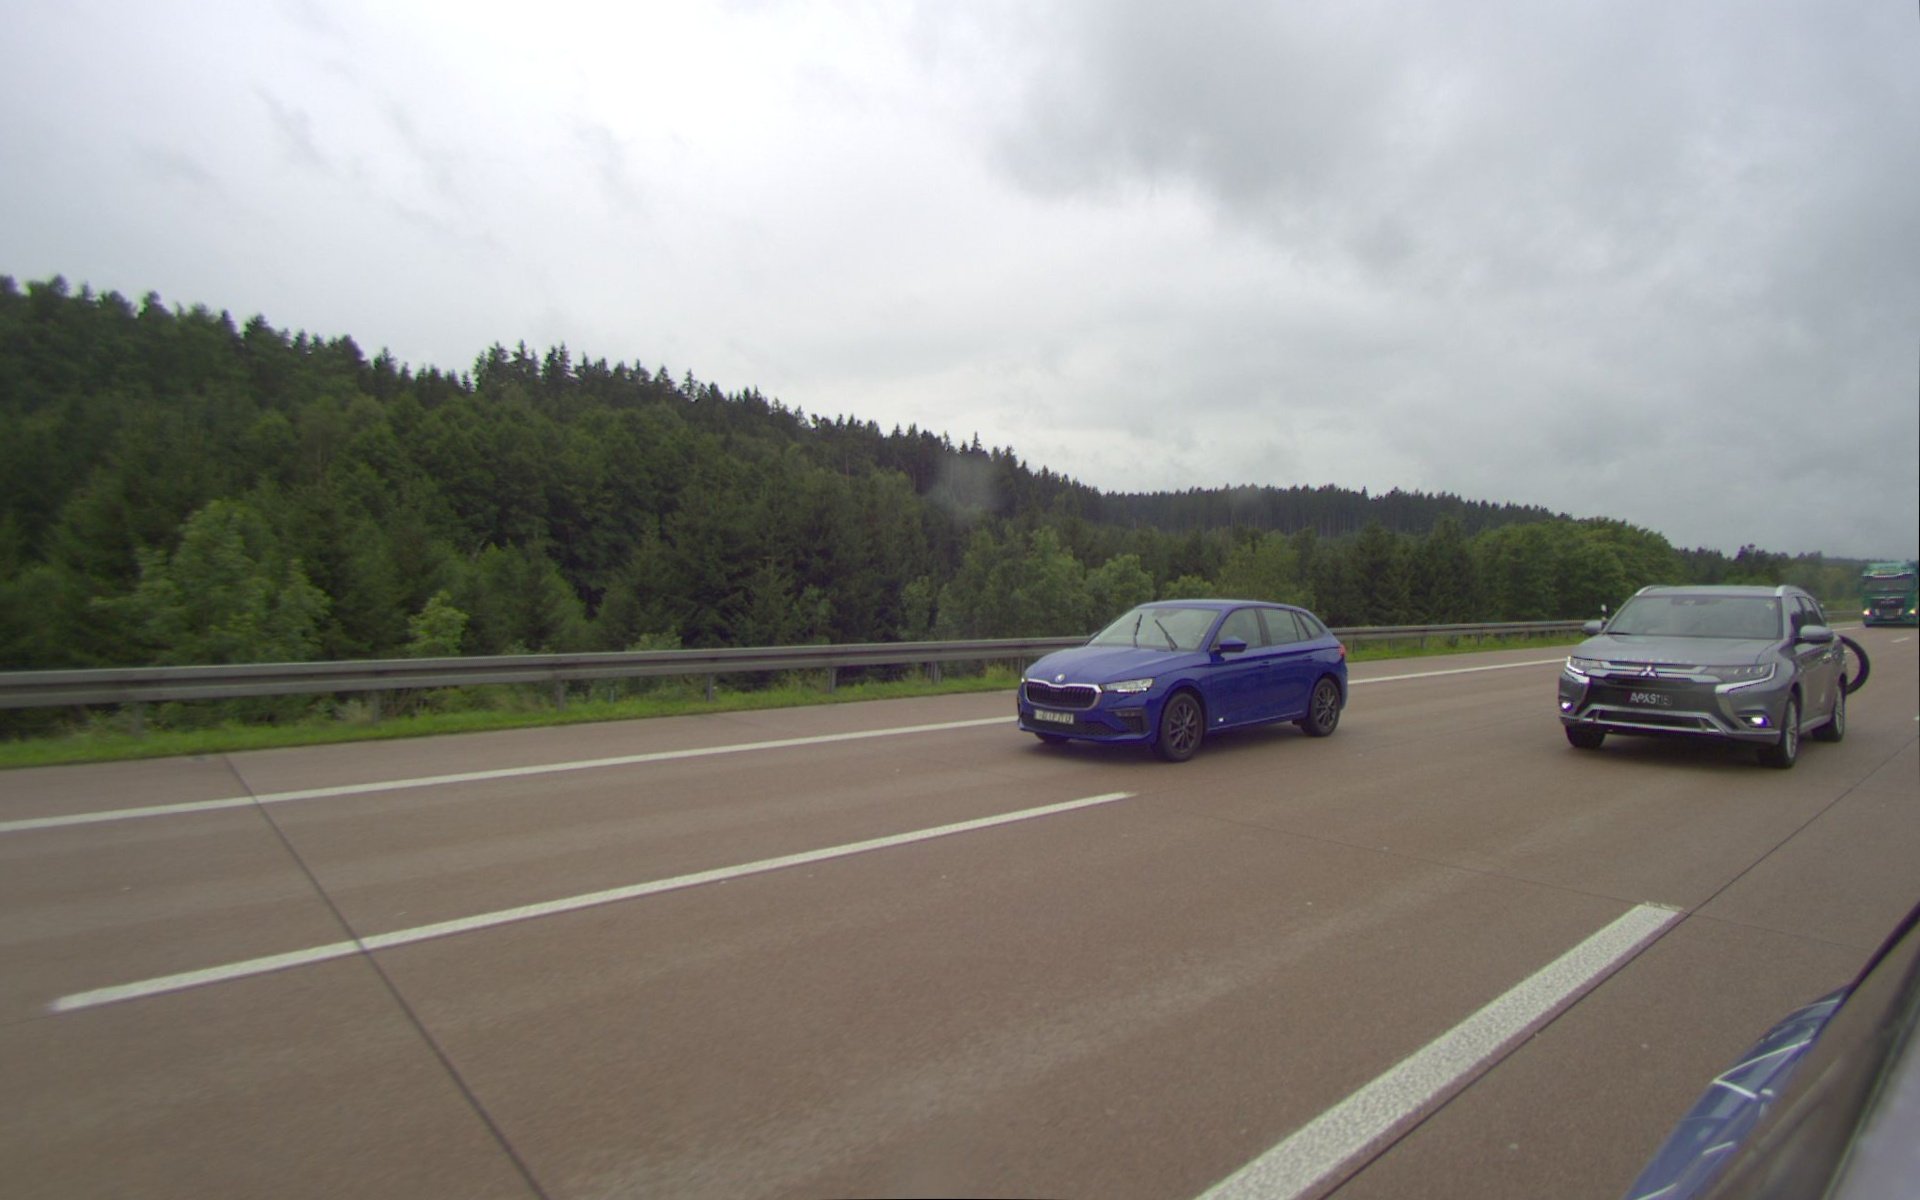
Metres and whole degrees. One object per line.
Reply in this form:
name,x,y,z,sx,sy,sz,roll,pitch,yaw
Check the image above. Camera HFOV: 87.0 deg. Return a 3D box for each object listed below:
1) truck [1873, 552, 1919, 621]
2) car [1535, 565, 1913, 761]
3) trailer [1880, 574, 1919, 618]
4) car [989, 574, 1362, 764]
truck,57.668,-0.844,61.450,6.876,4.014,2.898,-2,1,-45
car,8.510,0.462,11.011,5.717,1.612,1.998,-2,1,-39
trailer,63.185,-0.369,66.914,11.213,2.709,2.883,-2,1,-45
car,2.383,0.548,10.574,4.076,1.583,1.773,-2,1,-42
